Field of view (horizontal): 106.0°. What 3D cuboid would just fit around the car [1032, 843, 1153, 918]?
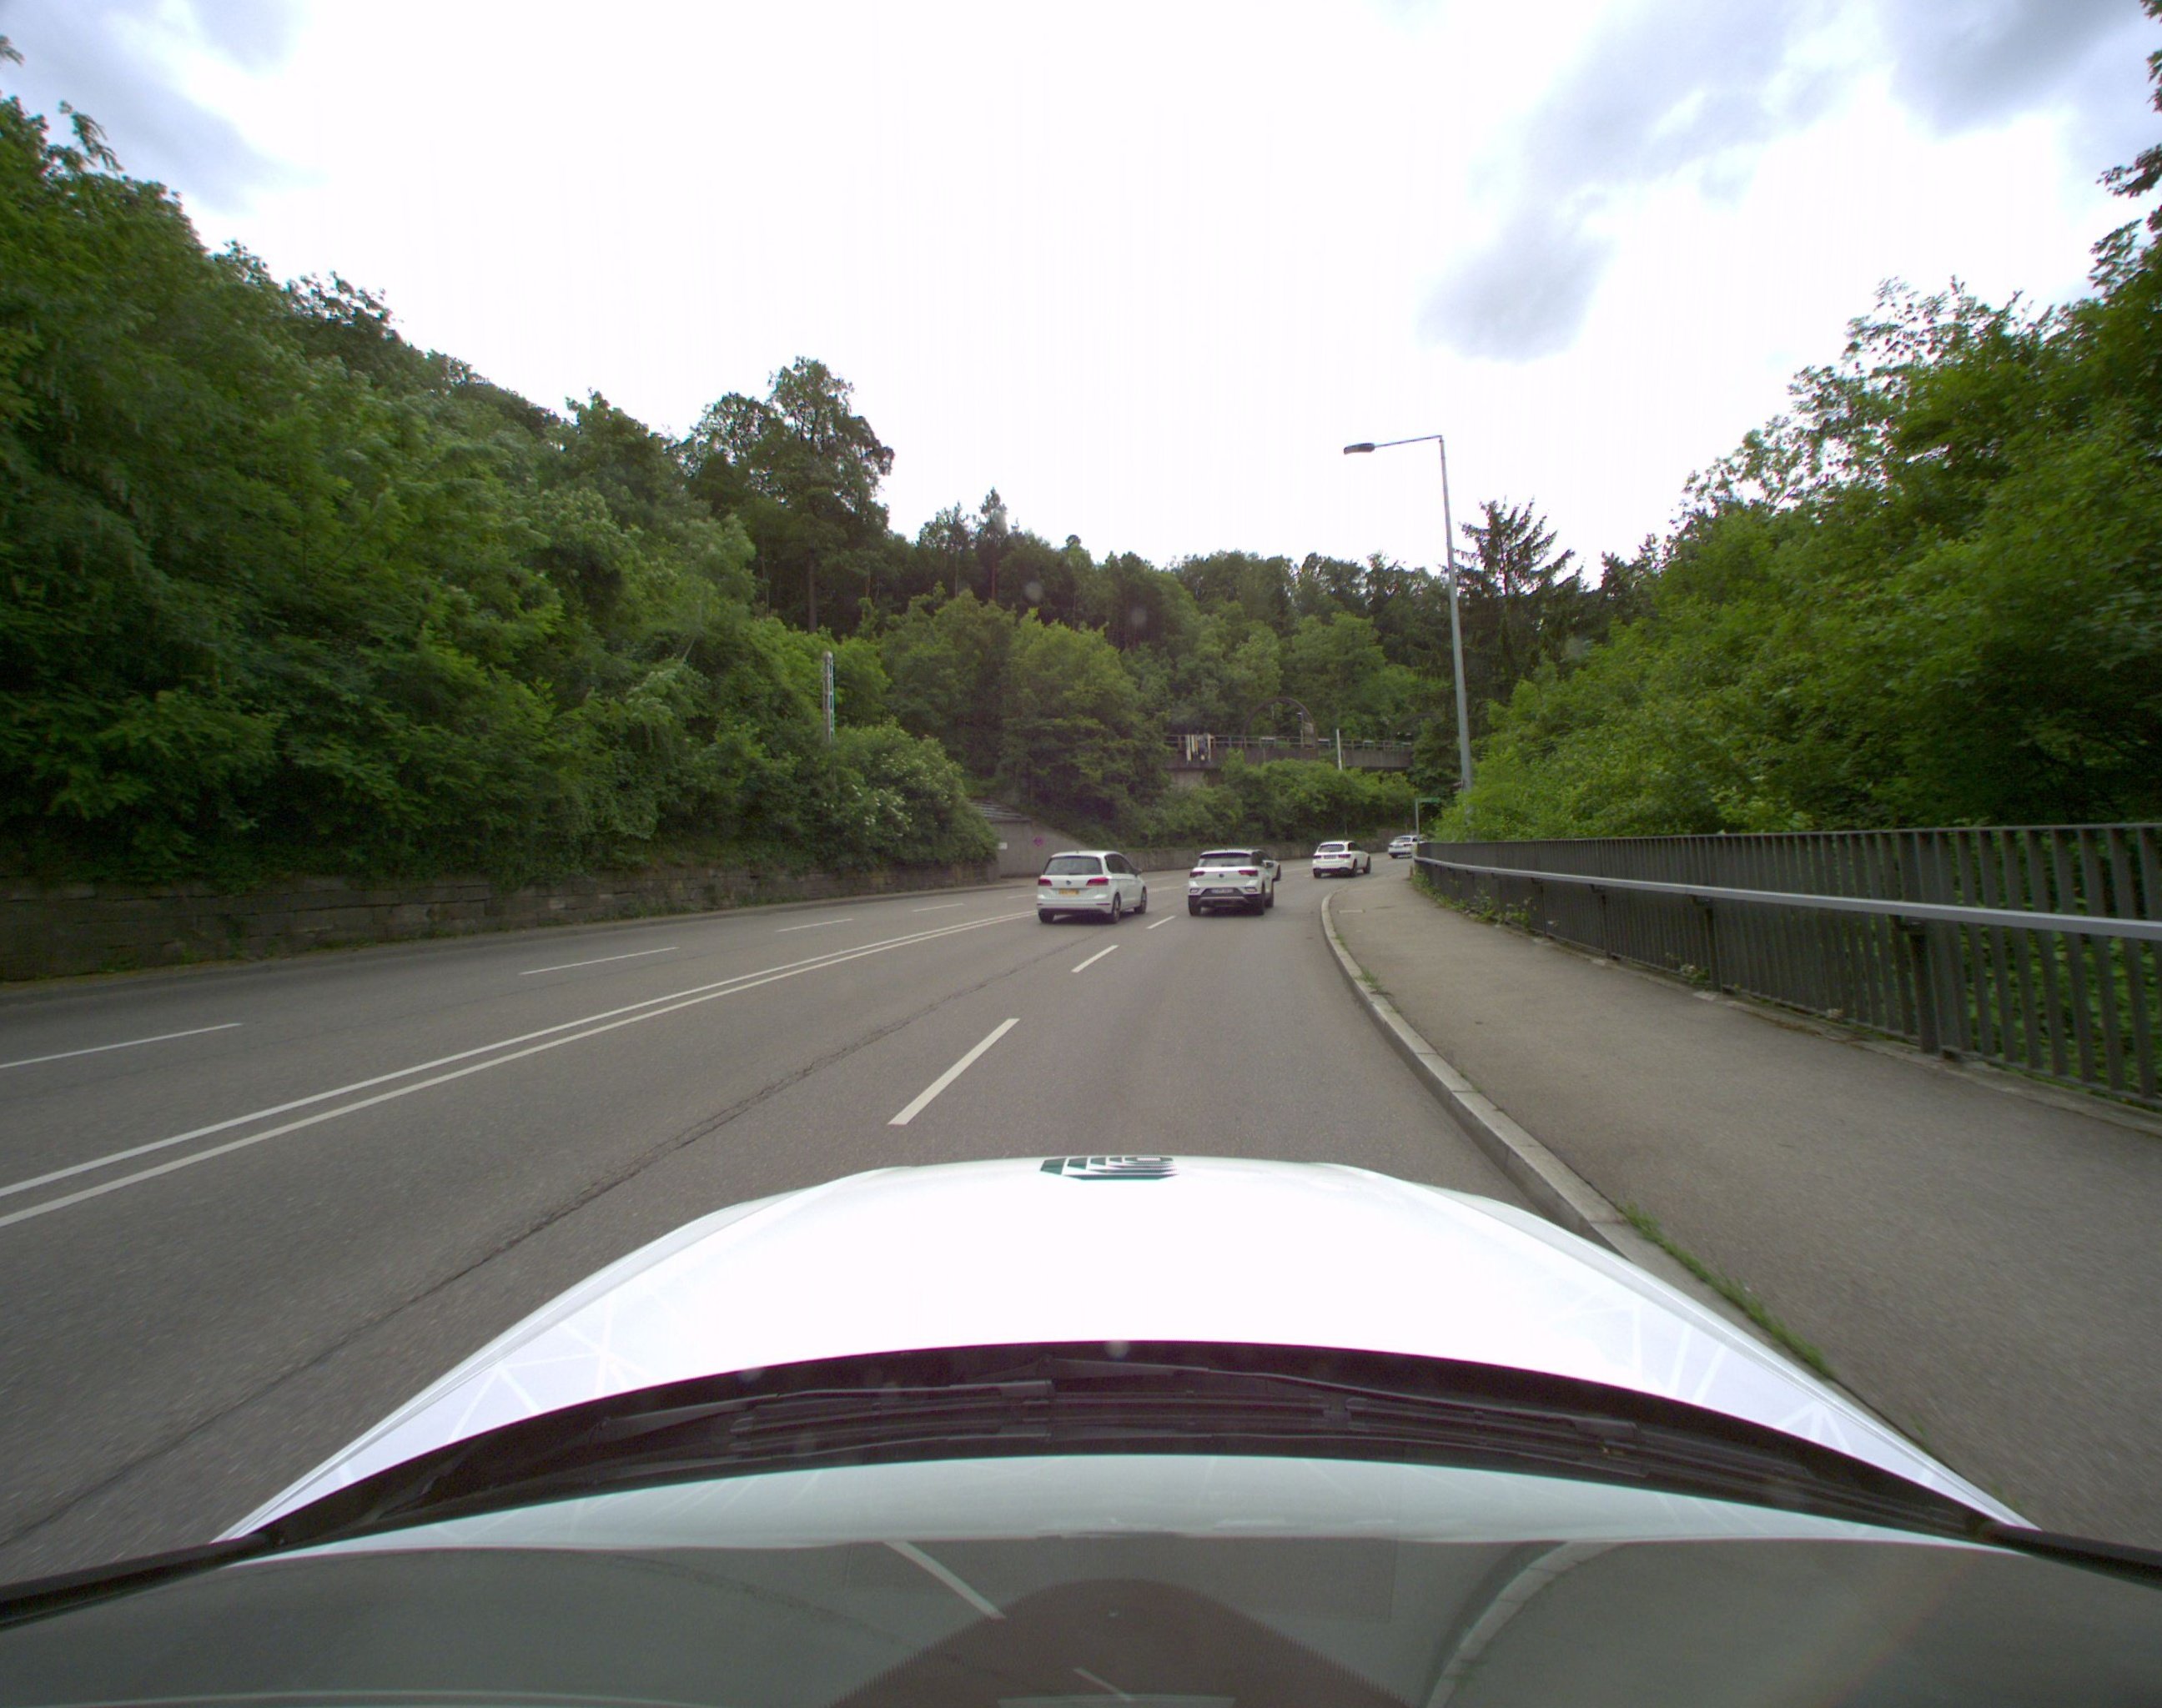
[{"bbox_3d":[0.406,0.587,19.023,1.707,1.554,4.293,0,-1,17],"label":"car"}]

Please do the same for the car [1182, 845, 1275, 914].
[{"bbox_3d":[3.813,0.611,20.478,1.799,1.539,4.026,-2,-1,17],"label":"car"}]

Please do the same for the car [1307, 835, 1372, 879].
[{"bbox_3d":[12.048,0.172,37.810,1.974,1.843,4.175,0,-2,30],"label":"car"}]

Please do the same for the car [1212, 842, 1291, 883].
[{"bbox_3d":[7.449,0.304,35.195,1.975,1.557,4.710,2,2,29],"label":"car"}]

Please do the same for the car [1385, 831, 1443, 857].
[{"bbox_3d":[22.311,-0.650,54.503,4.330,1.519,1.726,3,-3,-40],"label":"car"}]
